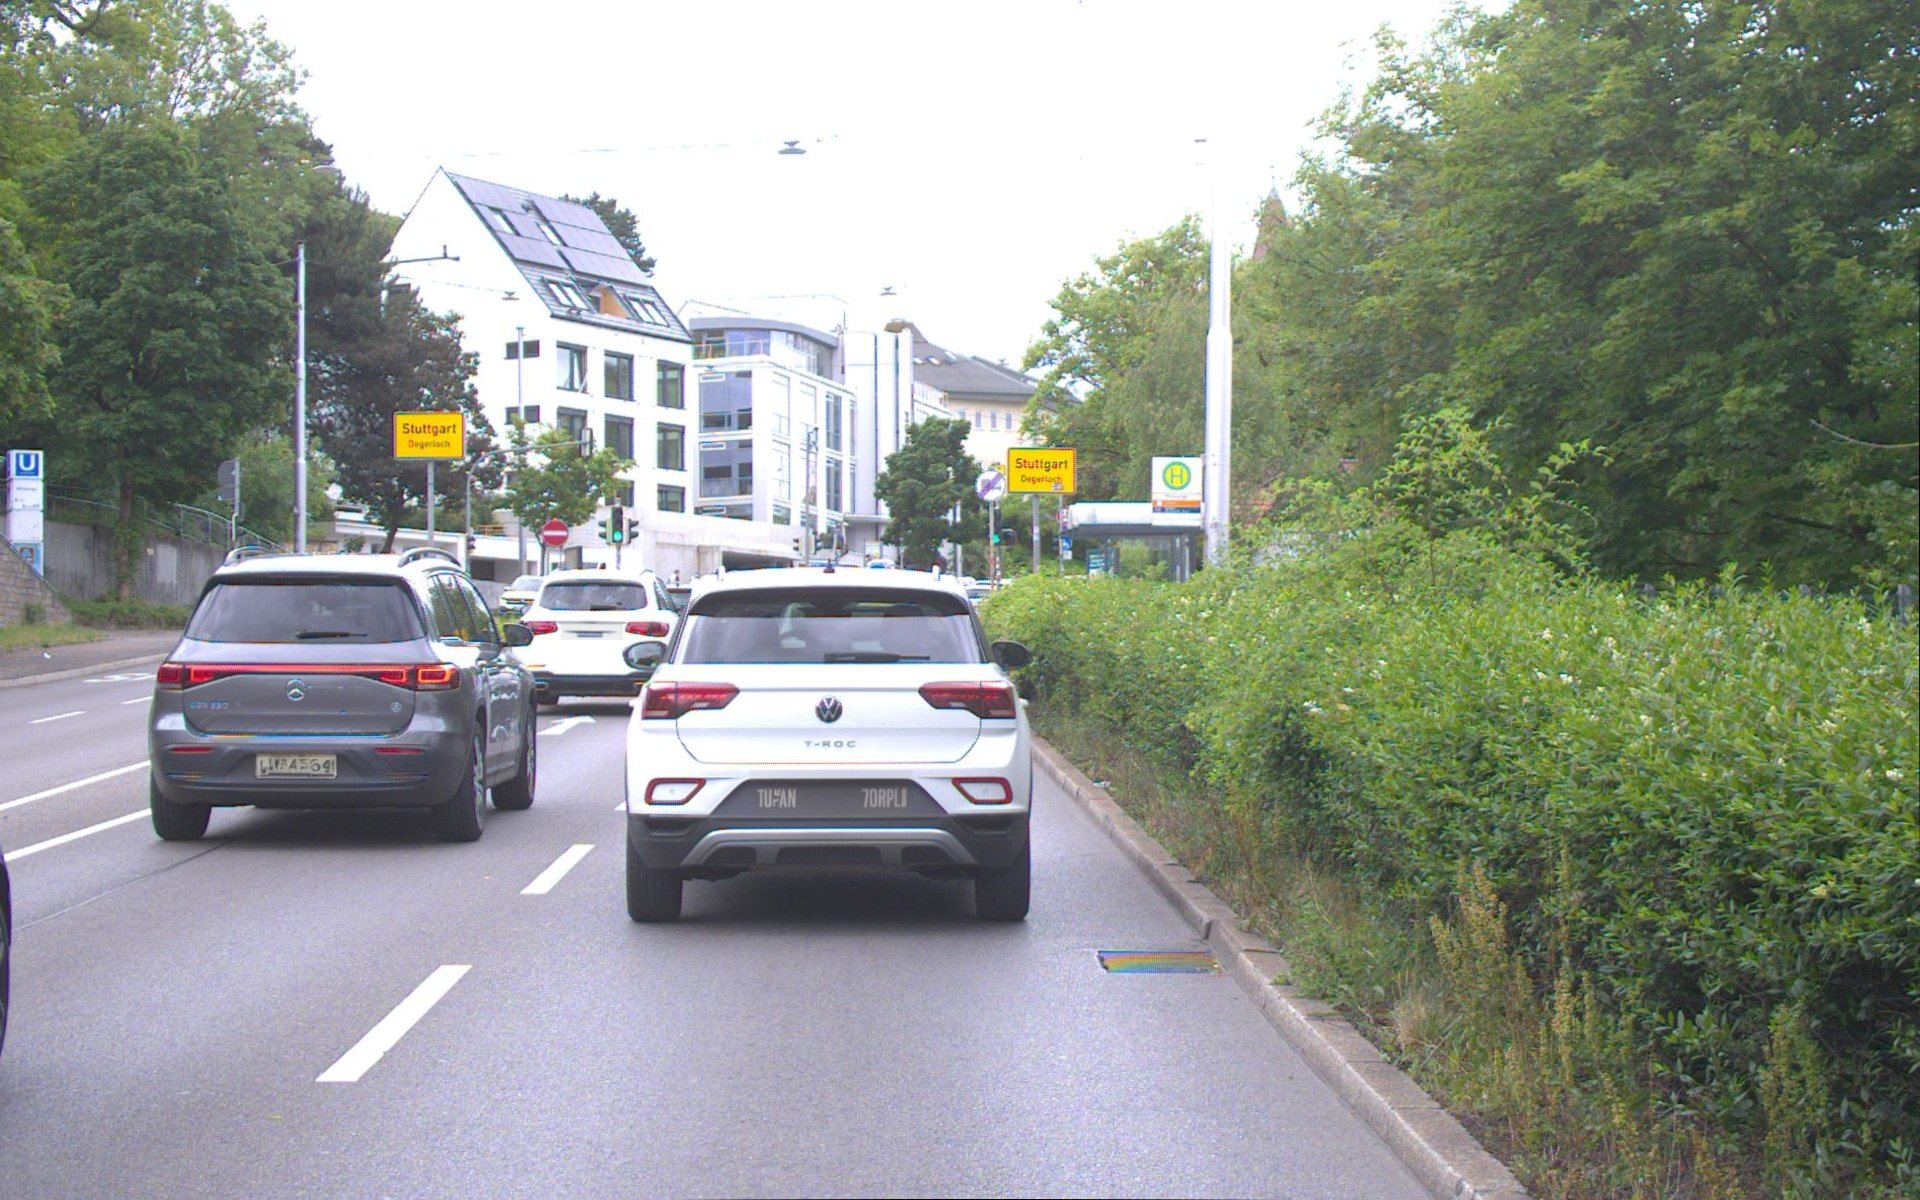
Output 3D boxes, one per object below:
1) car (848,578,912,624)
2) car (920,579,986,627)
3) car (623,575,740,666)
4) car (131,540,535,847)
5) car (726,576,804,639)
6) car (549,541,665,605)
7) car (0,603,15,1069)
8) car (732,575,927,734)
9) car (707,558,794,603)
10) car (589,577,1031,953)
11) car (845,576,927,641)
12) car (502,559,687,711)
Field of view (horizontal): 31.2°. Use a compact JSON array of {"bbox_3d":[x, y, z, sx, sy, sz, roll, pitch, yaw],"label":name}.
[{"bbox_3d":[-2.625,0.022,114.056,1.858,1.495,4.055,-1,0,2],"label":"car"},{"bbox_3d":[-0.207,0.094,110.919,1.858,1.495,4.055,-1,0,3],"label":"car"},{"bbox_3d":[-4.741,0.327,58.959,1.858,1.495,4.056,-1,0,-3],"label":"car"},{"bbox_3d":[-3.687,0.495,20.964,1.812,1.646,4.636,-1,0,-3],"label":"car"},{"bbox_3d":[-4.789,0.166,84.580,1.858,1.495,4.056,-1,0,-3],"label":"car"},{"bbox_3d":[-14.383,-1.108,140.605,2.233,2.559,7.417,0,0,15],"label":"car"},{"bbox_3d":[-3.597,0.720,8.618,1.627,1.388,3.566,-1,0,-3],"label":"car"},{"bbox_3d":[-1.347,0.511,34.943,1.858,1.495,4.056,-1,0,-3],"label":"car"},{"bbox_3d":[-9.311,-0.888,153.210,1.984,1.960,5.213,0,0,20],"label":"car"},{"bbox_3d":[-0.708,0.672,16.071,1.811,1.534,3.690,-1,0,-3],"label":"car"},{"bbox_3d":[-1.806,0.193,82.554,1.858,1.495,4.056,-1,0,-3],"label":"car"},{"bbox_3d":[-4.192,0.373,40.039,1.858,1.646,4.636,-1,0,-3],"label":"car"}]
